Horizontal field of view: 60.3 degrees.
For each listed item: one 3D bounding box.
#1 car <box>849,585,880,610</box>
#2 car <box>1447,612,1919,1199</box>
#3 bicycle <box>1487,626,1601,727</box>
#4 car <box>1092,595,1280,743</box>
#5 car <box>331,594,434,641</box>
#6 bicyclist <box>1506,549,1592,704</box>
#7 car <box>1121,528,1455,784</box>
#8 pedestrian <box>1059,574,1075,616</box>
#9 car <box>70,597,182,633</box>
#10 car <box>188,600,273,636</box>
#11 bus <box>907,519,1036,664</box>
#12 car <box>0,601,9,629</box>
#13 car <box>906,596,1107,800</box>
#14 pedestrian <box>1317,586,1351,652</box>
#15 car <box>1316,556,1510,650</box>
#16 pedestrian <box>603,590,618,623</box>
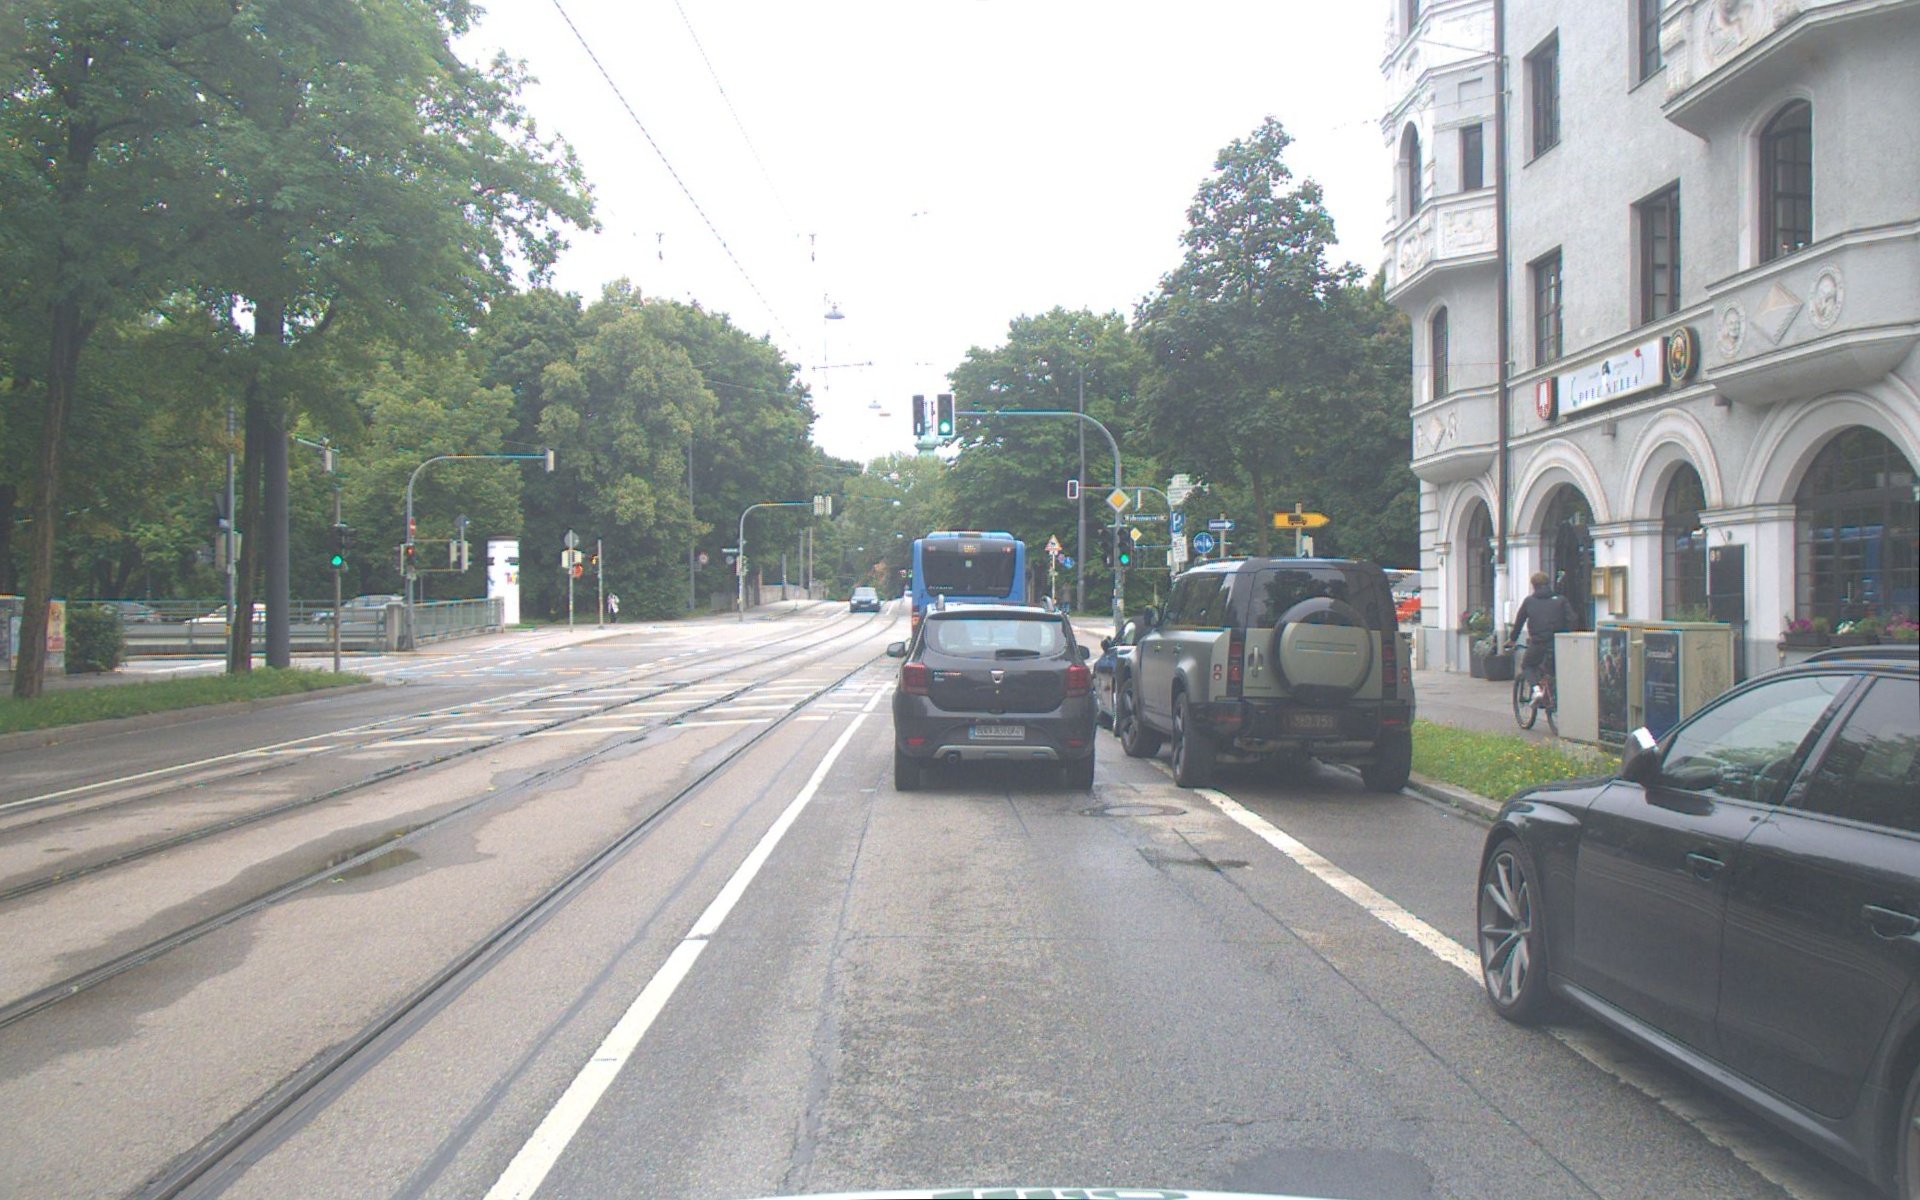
[{"bbox_3d":[-5.741,-0.131,99.687,1.752,1.394,3.398,1,-1,-2],"label":"car"},{"bbox_3d":[2.931,0.782,4.609,1.681,1.451,4.601,1,0,-1],"label":"car"},{"bbox_3d":[6.866,0.873,19.534,0.567,1.097,1.911,-2,0,-2],"label":"bicycle"},{"bbox_3d":[2.695,0.787,20.644,1.679,1.619,4.326,1,0,-1],"label":"car"},{"bbox_3d":[-24.990,0.775,71.676,3.946,1.920,1.488,1,-1,-8],"label":"car"},{"bbox_3d":[6.891,0.305,19.367,0.709,1.759,0.726,1,-1,-2],"label":"bicyclist"},{"bbox_3d":[2.786,0.450,15.226,1.876,1.939,4.805,1,0,-3],"label":"car"},{"bbox_3d":[5.651,-0.264,87.164,0.747,2.153,0.853,-1,0,-1],"label":"pedestrian"},{"bbox_3d":[-35.566,0.625,70.623,3.848,1.429,1.719,1,0,-5],"label":"car"},{"bbox_3d":[-31.262,0.764,70.895,3.050,1.477,1.249,1,-1,-6],"label":"car"},{"bbox_3d":[0.144,-0.167,38.986,2.625,3.050,6.957,1,0,-3],"label":"bus"},{"bbox_3d":[-42.403,0.597,69.855,3.656,1.206,1.249,1,-1,-6],"label":"car"},{"bbox_3d":[0.332,0.789,14.923,1.568,1.584,3.524,1,0,-1],"label":"car"},{"bbox_3d":[10.083,0.507,44.618,0.690,1.762,0.842,1,-1,-1],"label":"pedestrian"},{"bbox_3d":[13.689,0.098,50.171,5.191,2.658,2.229,1,-1,-4],"label":"car"},{"bbox_3d":[-16.453,0.298,77.963,0.520,1.527,0.588,1,-1,4],"label":"pedestrian"}]
